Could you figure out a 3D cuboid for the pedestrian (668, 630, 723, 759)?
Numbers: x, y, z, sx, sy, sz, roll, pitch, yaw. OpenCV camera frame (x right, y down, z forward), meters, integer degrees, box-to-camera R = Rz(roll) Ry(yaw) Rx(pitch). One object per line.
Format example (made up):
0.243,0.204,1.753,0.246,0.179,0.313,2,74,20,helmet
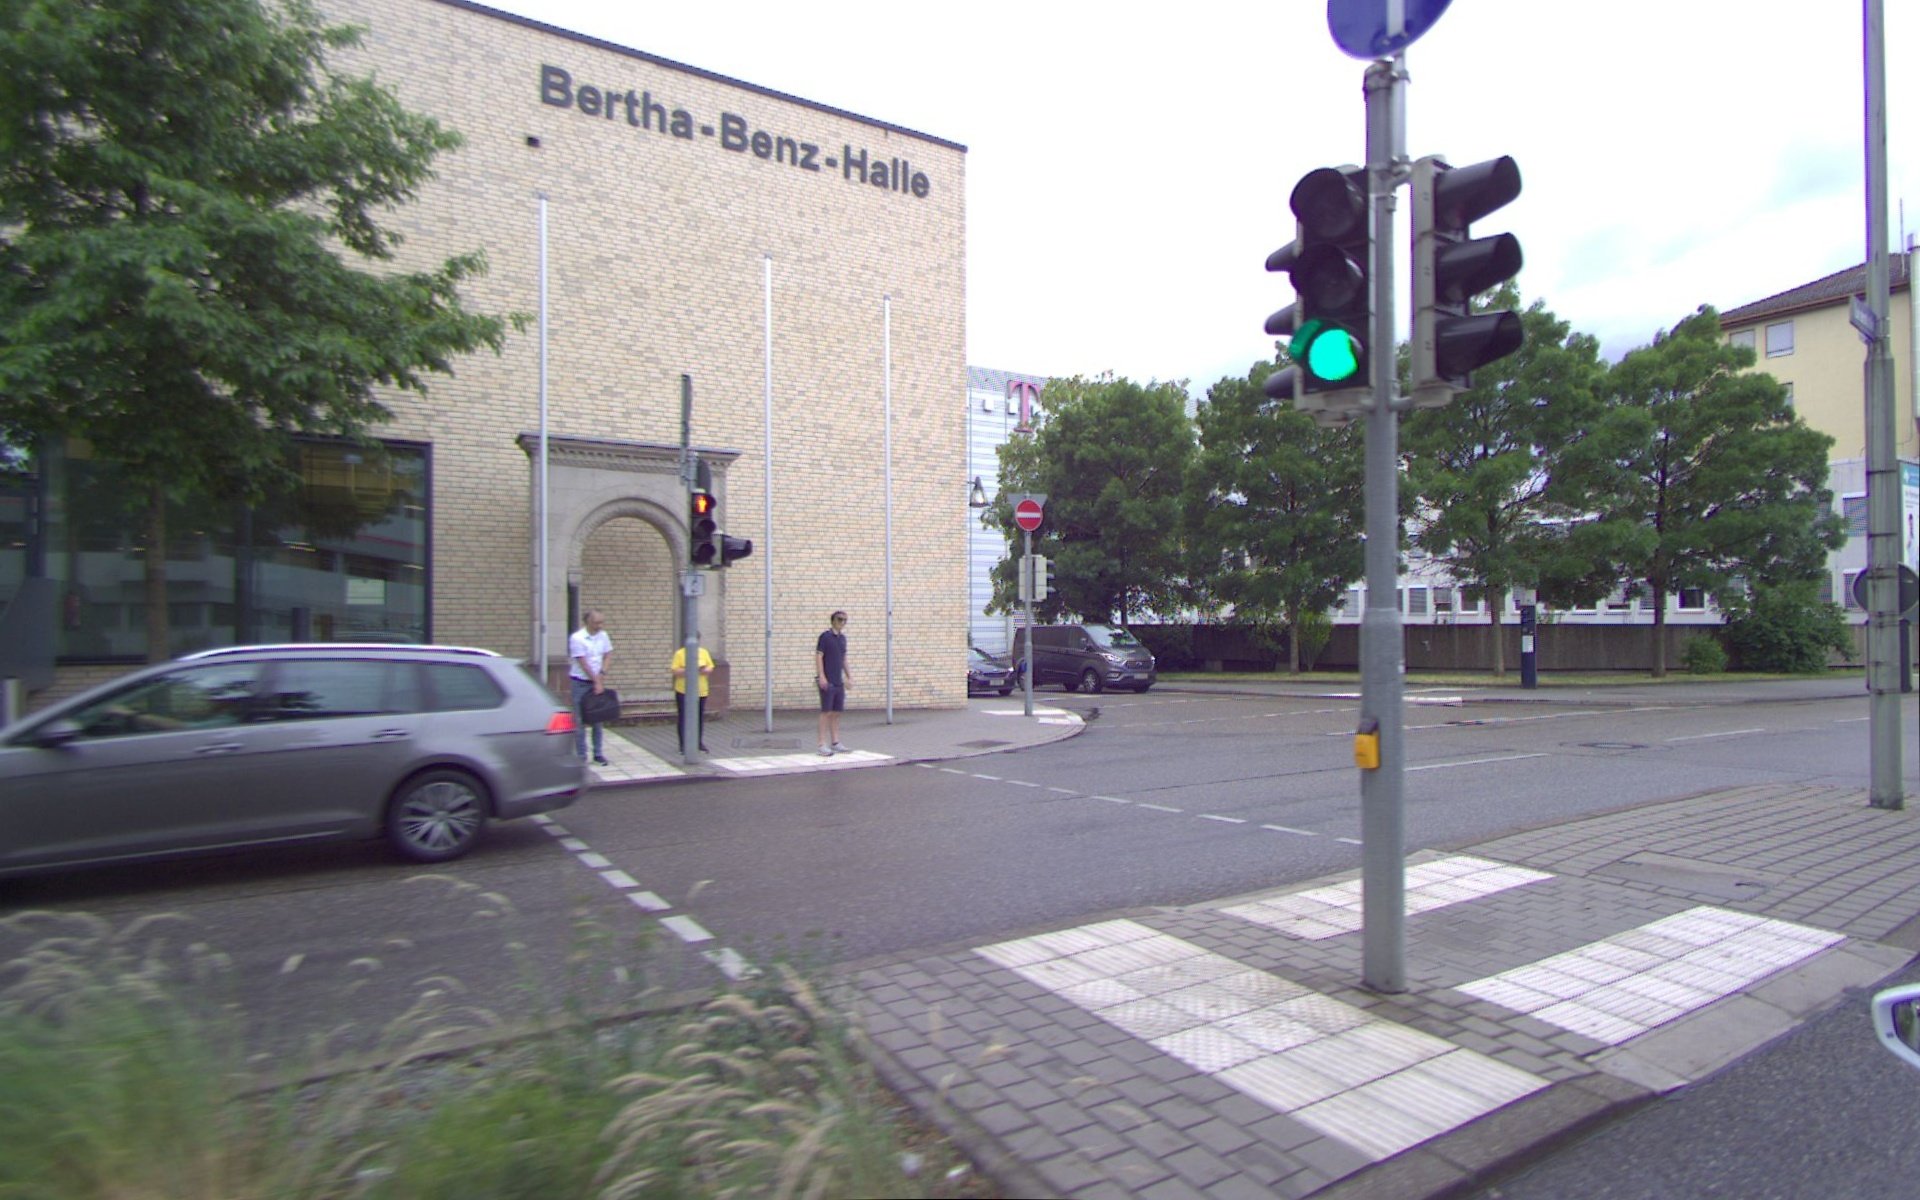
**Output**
-3.275,1.147,12.441,0.540,1.554,0.436,1,-2,-33,pedestrian

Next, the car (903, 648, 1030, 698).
0.096,2.083,29.389,1.828,1.225,4.237,1,-2,-30,car

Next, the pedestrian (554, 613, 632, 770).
-4.095,0.995,11.191,0.684,1.678,0.608,1,-2,-33,pedestrian

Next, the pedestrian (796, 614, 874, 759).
-1.597,1.082,12.859,0.712,1.781,0.681,2,-2,-41,pedestrian

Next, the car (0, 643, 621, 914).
-4.778,1.050,6.883,4.385,1.448,1.837,1,-3,-32,car

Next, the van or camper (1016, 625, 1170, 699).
3.744,1.719,29.222,1.999,1.957,4.715,1,-2,-30,van or camper
